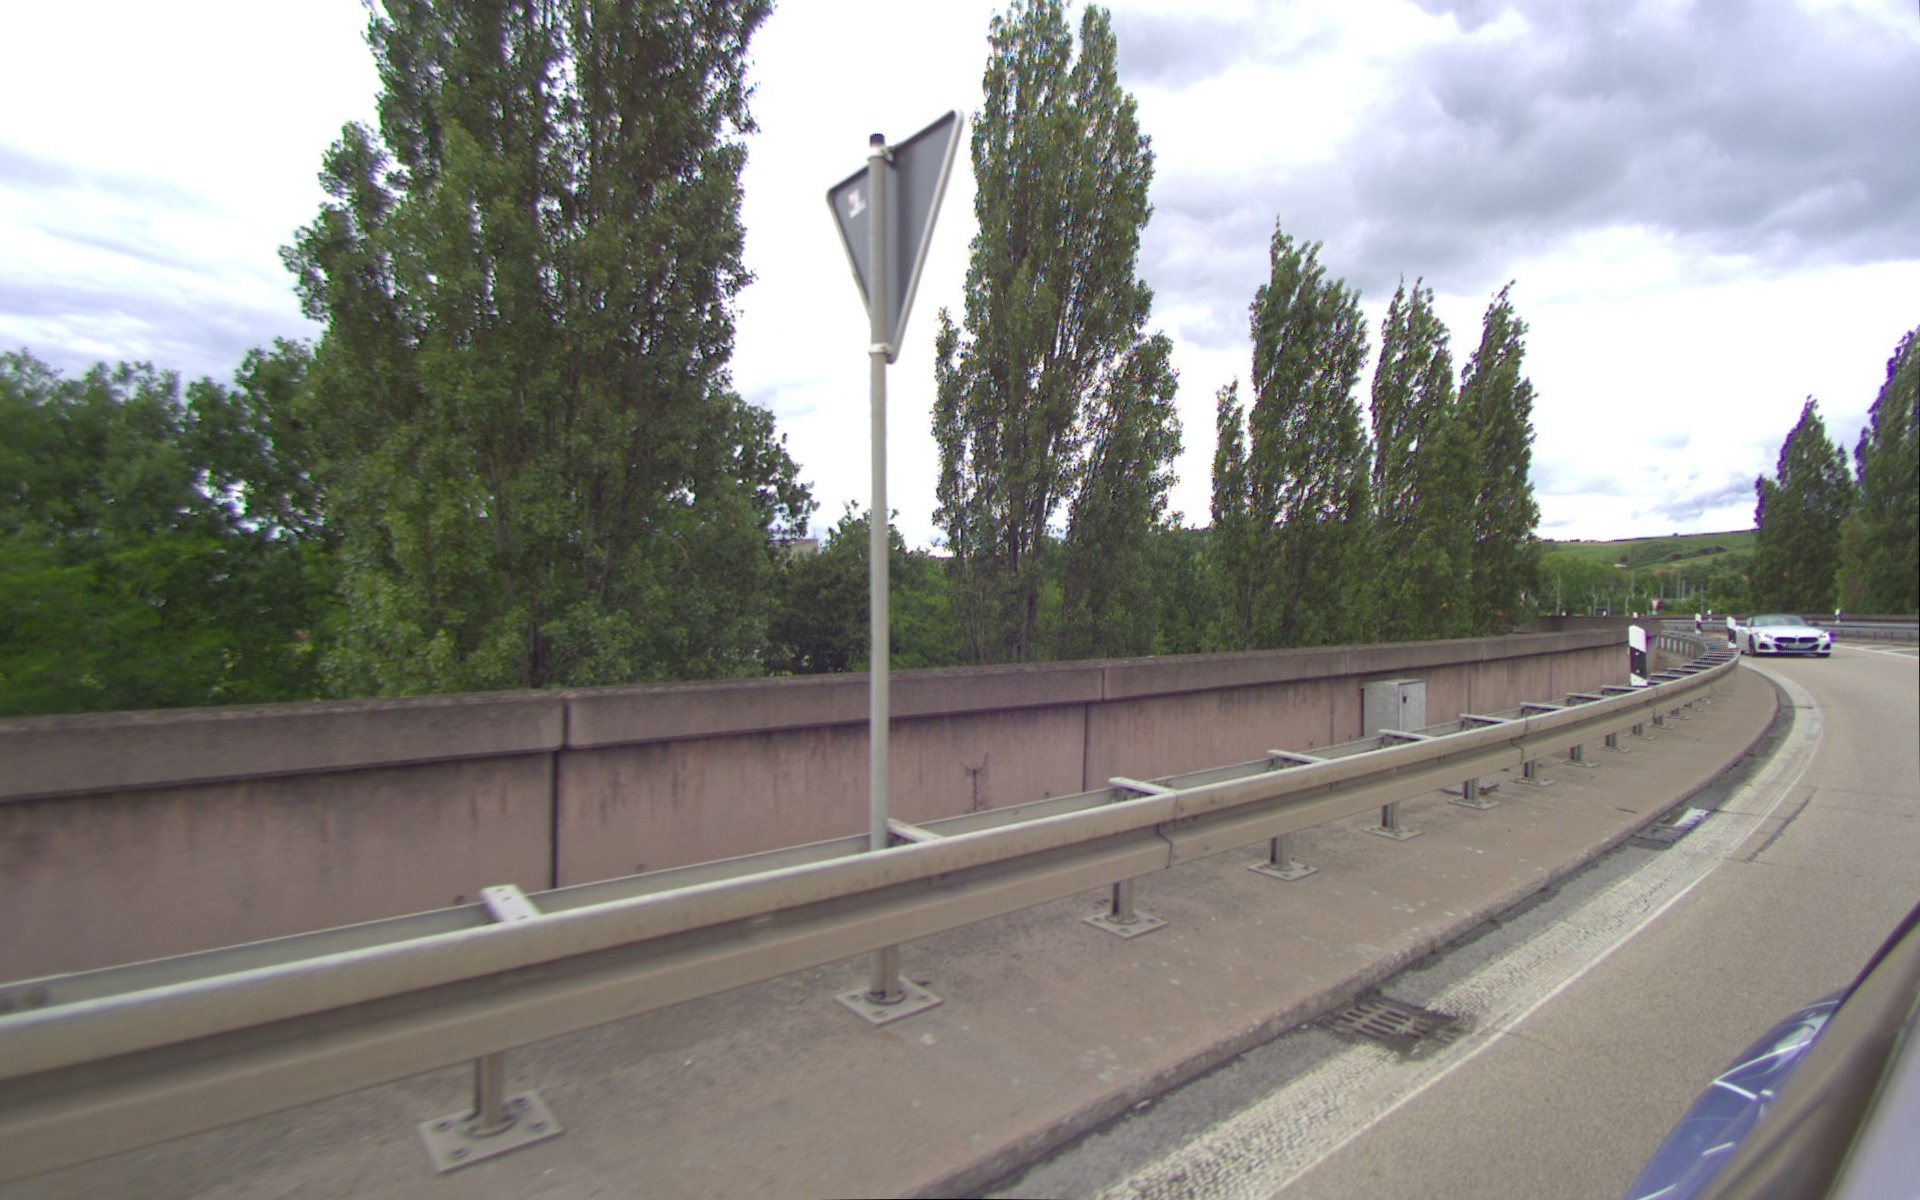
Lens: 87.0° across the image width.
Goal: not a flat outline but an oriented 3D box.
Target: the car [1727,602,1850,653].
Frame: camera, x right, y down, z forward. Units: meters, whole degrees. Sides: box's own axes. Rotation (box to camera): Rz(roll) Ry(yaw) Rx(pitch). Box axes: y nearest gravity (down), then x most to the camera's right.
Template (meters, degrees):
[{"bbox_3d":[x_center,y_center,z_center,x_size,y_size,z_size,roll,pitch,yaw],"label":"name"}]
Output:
[{"bbox_3d":[25.630,0.786,31.490,1.845,1.361,4.783,0,1,25],"label":"car"}]
